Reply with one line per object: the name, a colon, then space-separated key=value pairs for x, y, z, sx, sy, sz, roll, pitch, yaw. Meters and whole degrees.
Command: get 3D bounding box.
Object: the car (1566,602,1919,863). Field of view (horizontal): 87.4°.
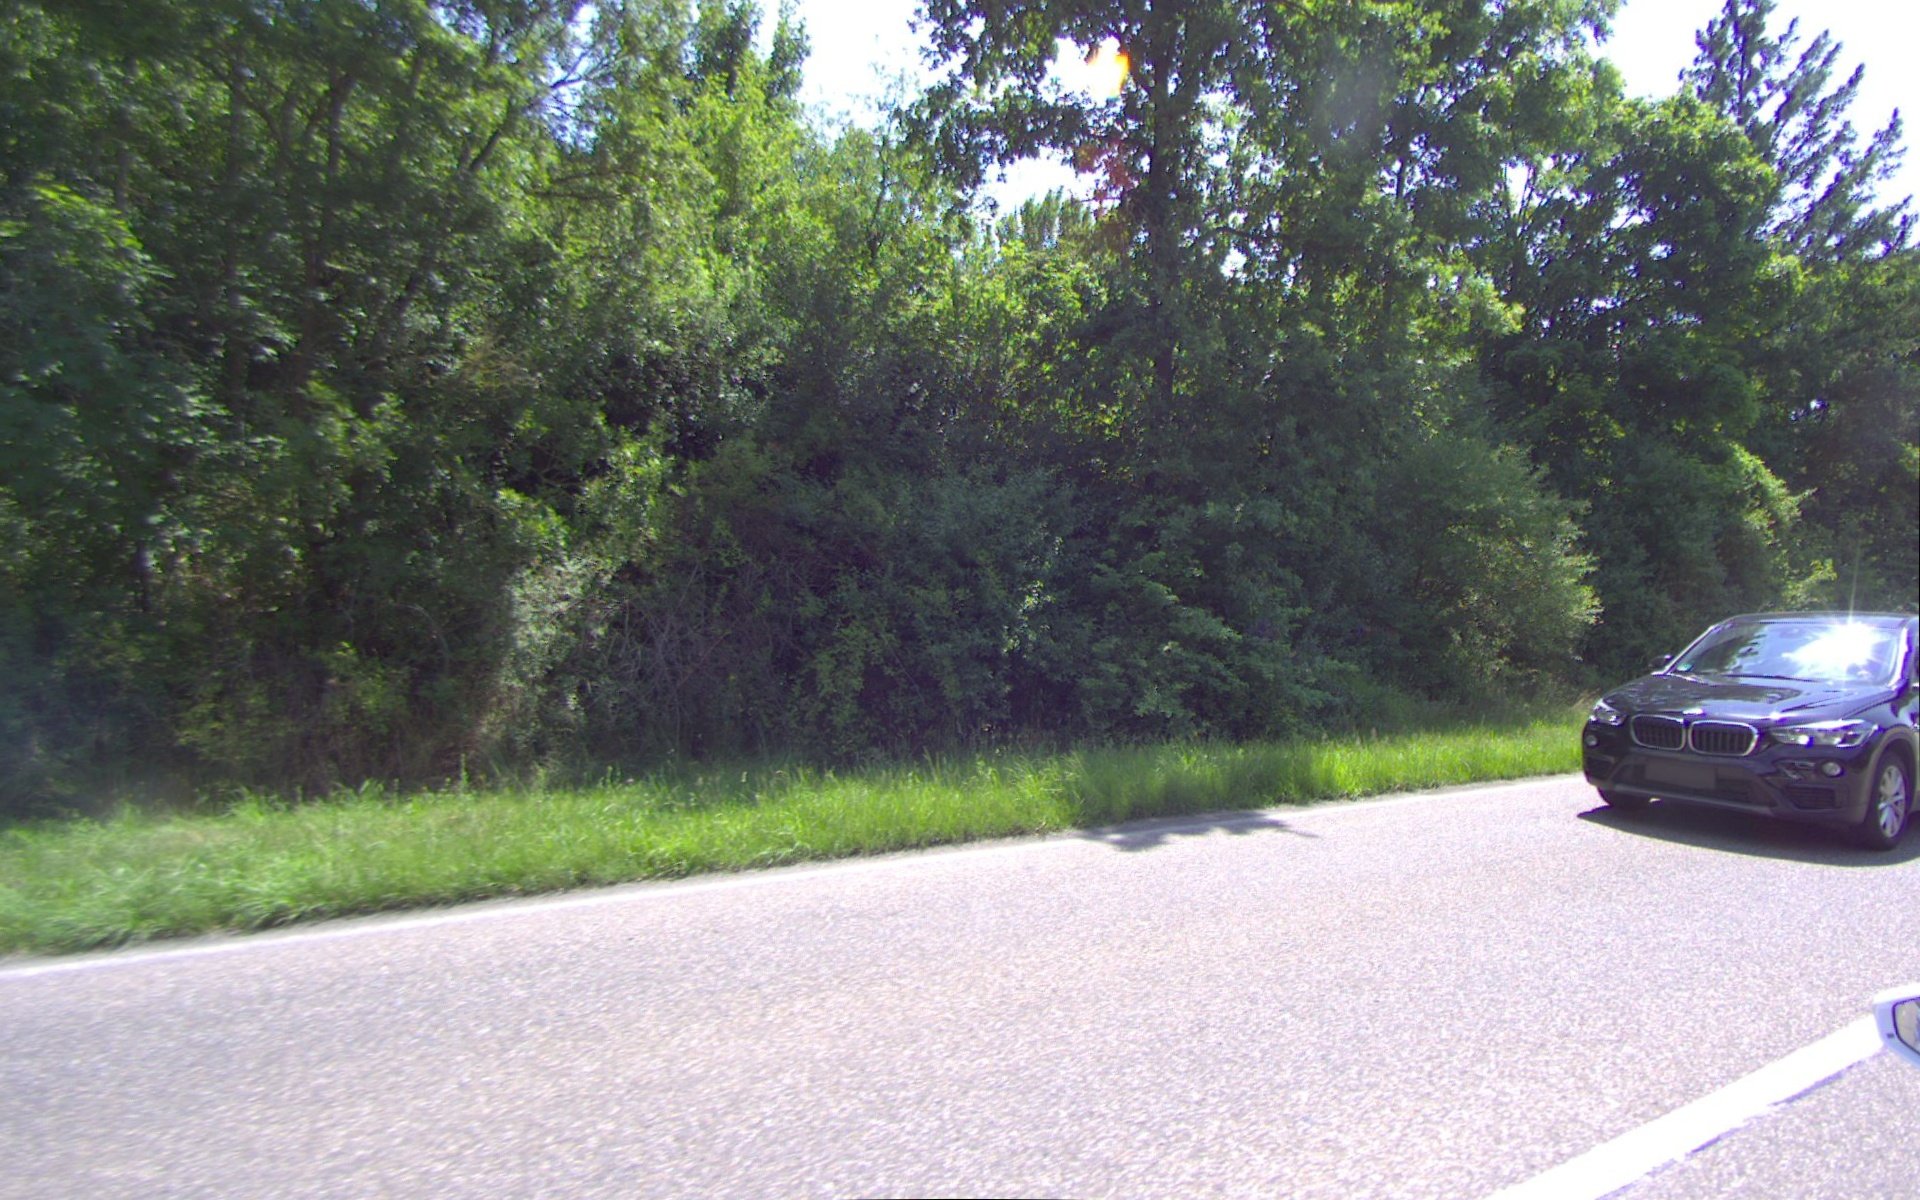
car: x=7.022 y=0.891 z=8.159 sx=4.390 sy=1.626 sz=1.743 roll=2 pitch=-1 yaw=-31
